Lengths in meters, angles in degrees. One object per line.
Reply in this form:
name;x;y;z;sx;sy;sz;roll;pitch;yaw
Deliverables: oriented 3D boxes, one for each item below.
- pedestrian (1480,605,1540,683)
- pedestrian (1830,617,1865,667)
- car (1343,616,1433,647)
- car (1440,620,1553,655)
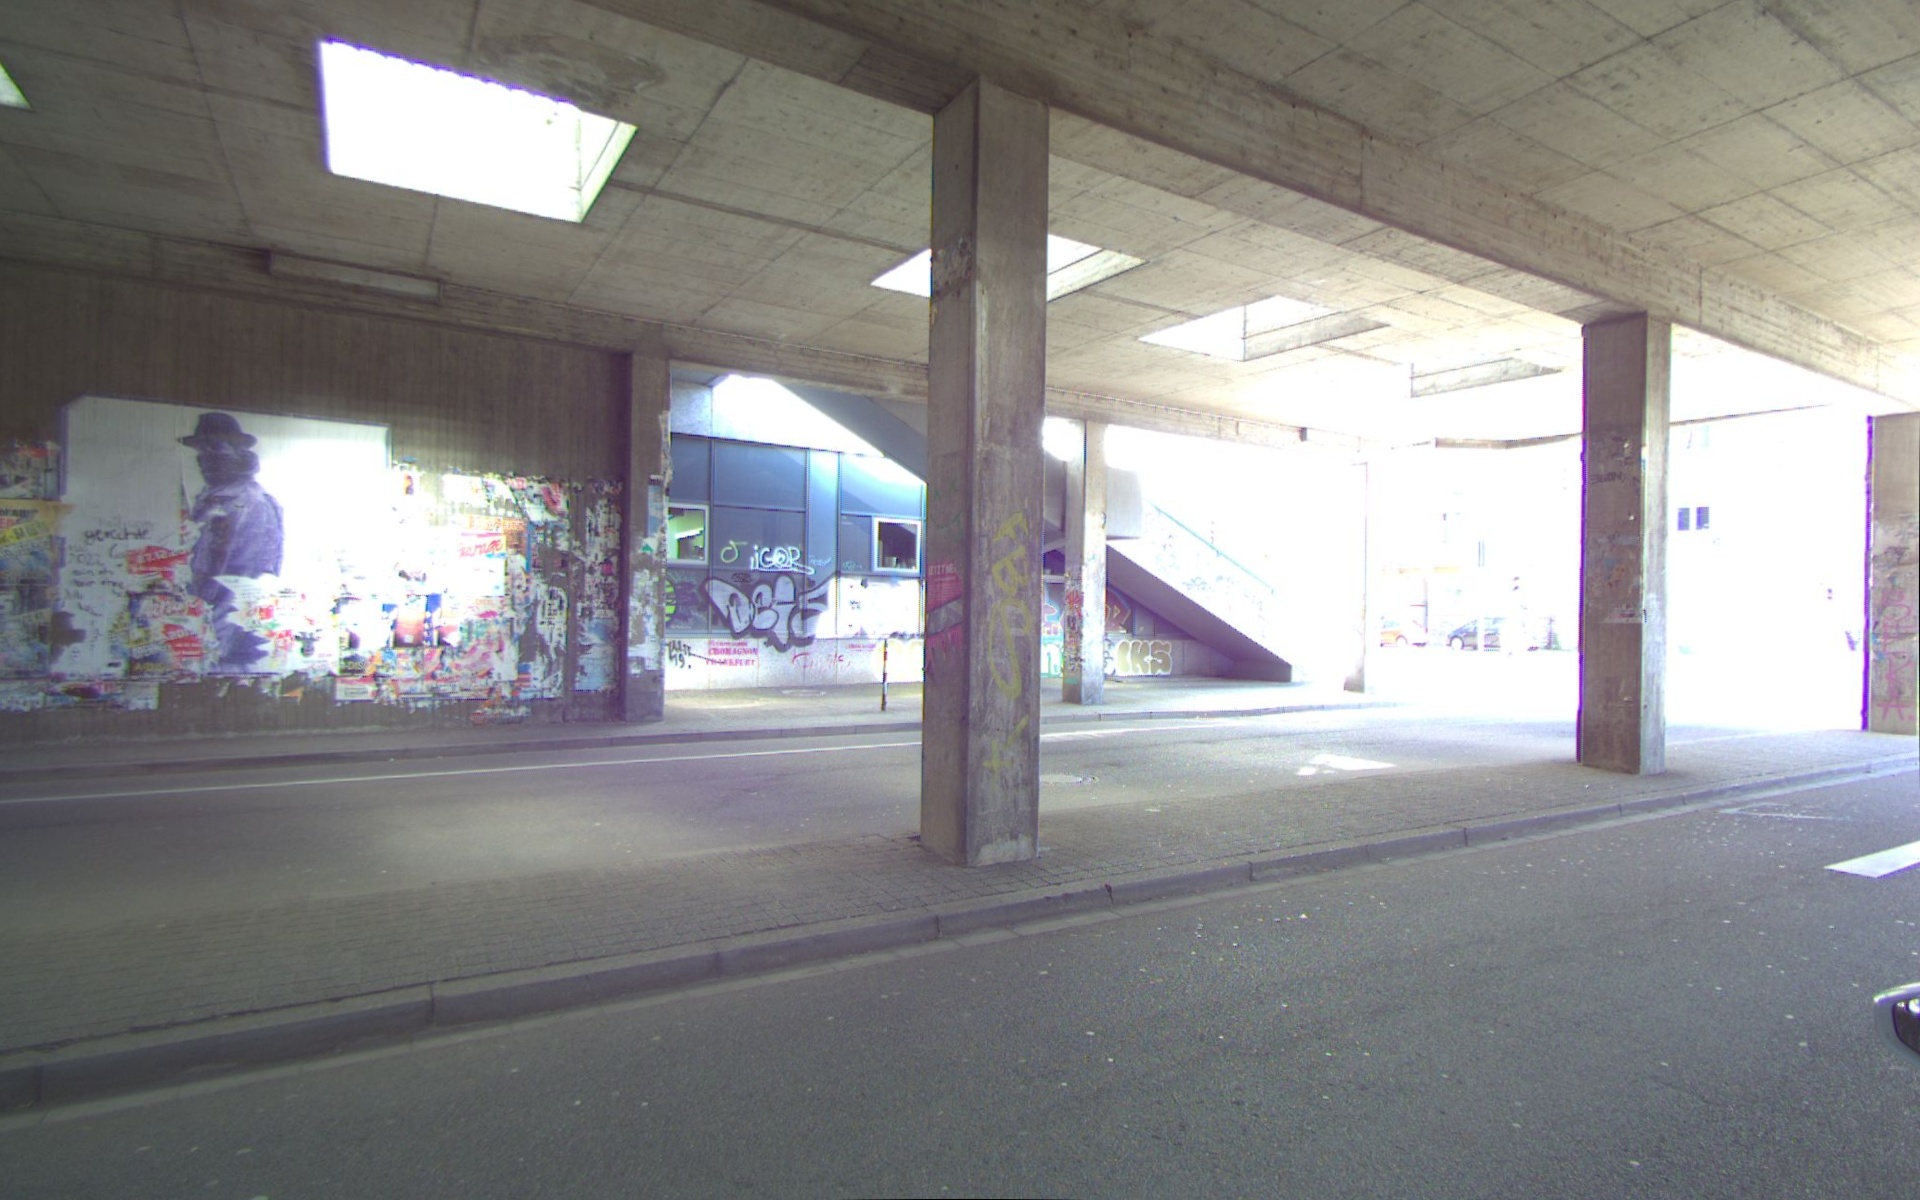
pedestrian;12.974;1.026;23.696;0.784;1.785;0.925;2;0;-28
pedestrian;30.439;1.443;34.442;0.732;1.659;0.669;2;0;-30
car;22.422;1.649;52.703;1.905;1.428;3.965;2;0;-32
car;25.435;1.756;47.786;1.905;1.428;4.382;2;0;-32
